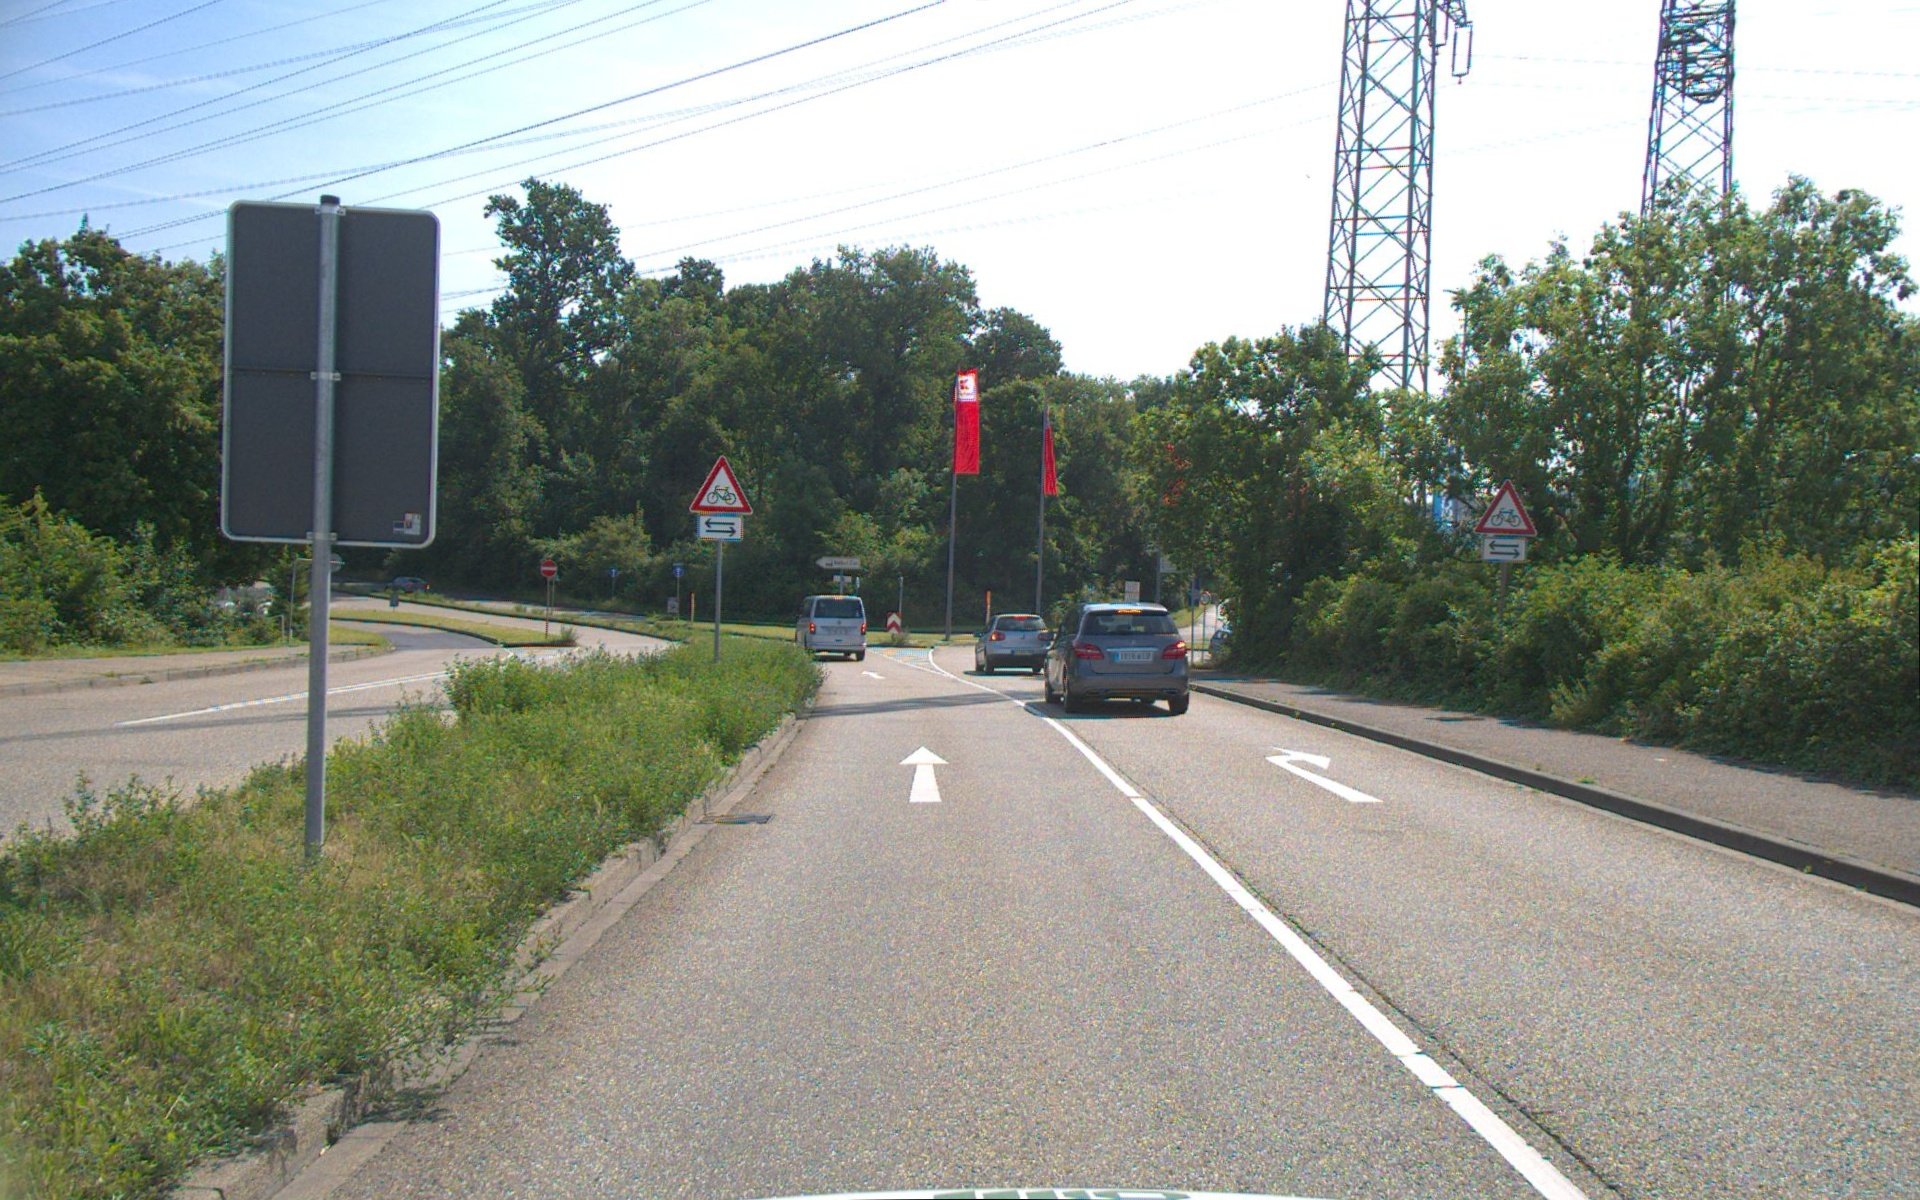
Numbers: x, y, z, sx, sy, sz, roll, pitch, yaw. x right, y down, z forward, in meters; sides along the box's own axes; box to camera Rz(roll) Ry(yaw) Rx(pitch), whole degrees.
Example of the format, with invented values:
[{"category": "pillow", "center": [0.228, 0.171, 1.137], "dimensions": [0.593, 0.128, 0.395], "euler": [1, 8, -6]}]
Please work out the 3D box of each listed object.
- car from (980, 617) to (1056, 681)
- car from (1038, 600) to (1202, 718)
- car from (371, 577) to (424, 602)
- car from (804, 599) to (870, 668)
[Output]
[{"category": "car", "center": [1.434, 1.214, 42.271], "dimensions": [1.818, 1.556, 4.143], "euler": [0, -1, 0]}, {"category": "car", "center": [2.272, 0.826, 24.481], "dimensions": [1.819, 1.556, 4.141], "euler": [-1, -1, -3]}, {"category": "car", "center": [-39.925, -0.788, 117.394], "dimensions": [3.578, 1.593, 1.649], "euler": [3, 3, 30]}, {"category": "car", "center": [-3.882, 1.023, 52.088], "dimensions": [1.999, 2.049, 3.996], "euler": [0, 0, -5]}]
